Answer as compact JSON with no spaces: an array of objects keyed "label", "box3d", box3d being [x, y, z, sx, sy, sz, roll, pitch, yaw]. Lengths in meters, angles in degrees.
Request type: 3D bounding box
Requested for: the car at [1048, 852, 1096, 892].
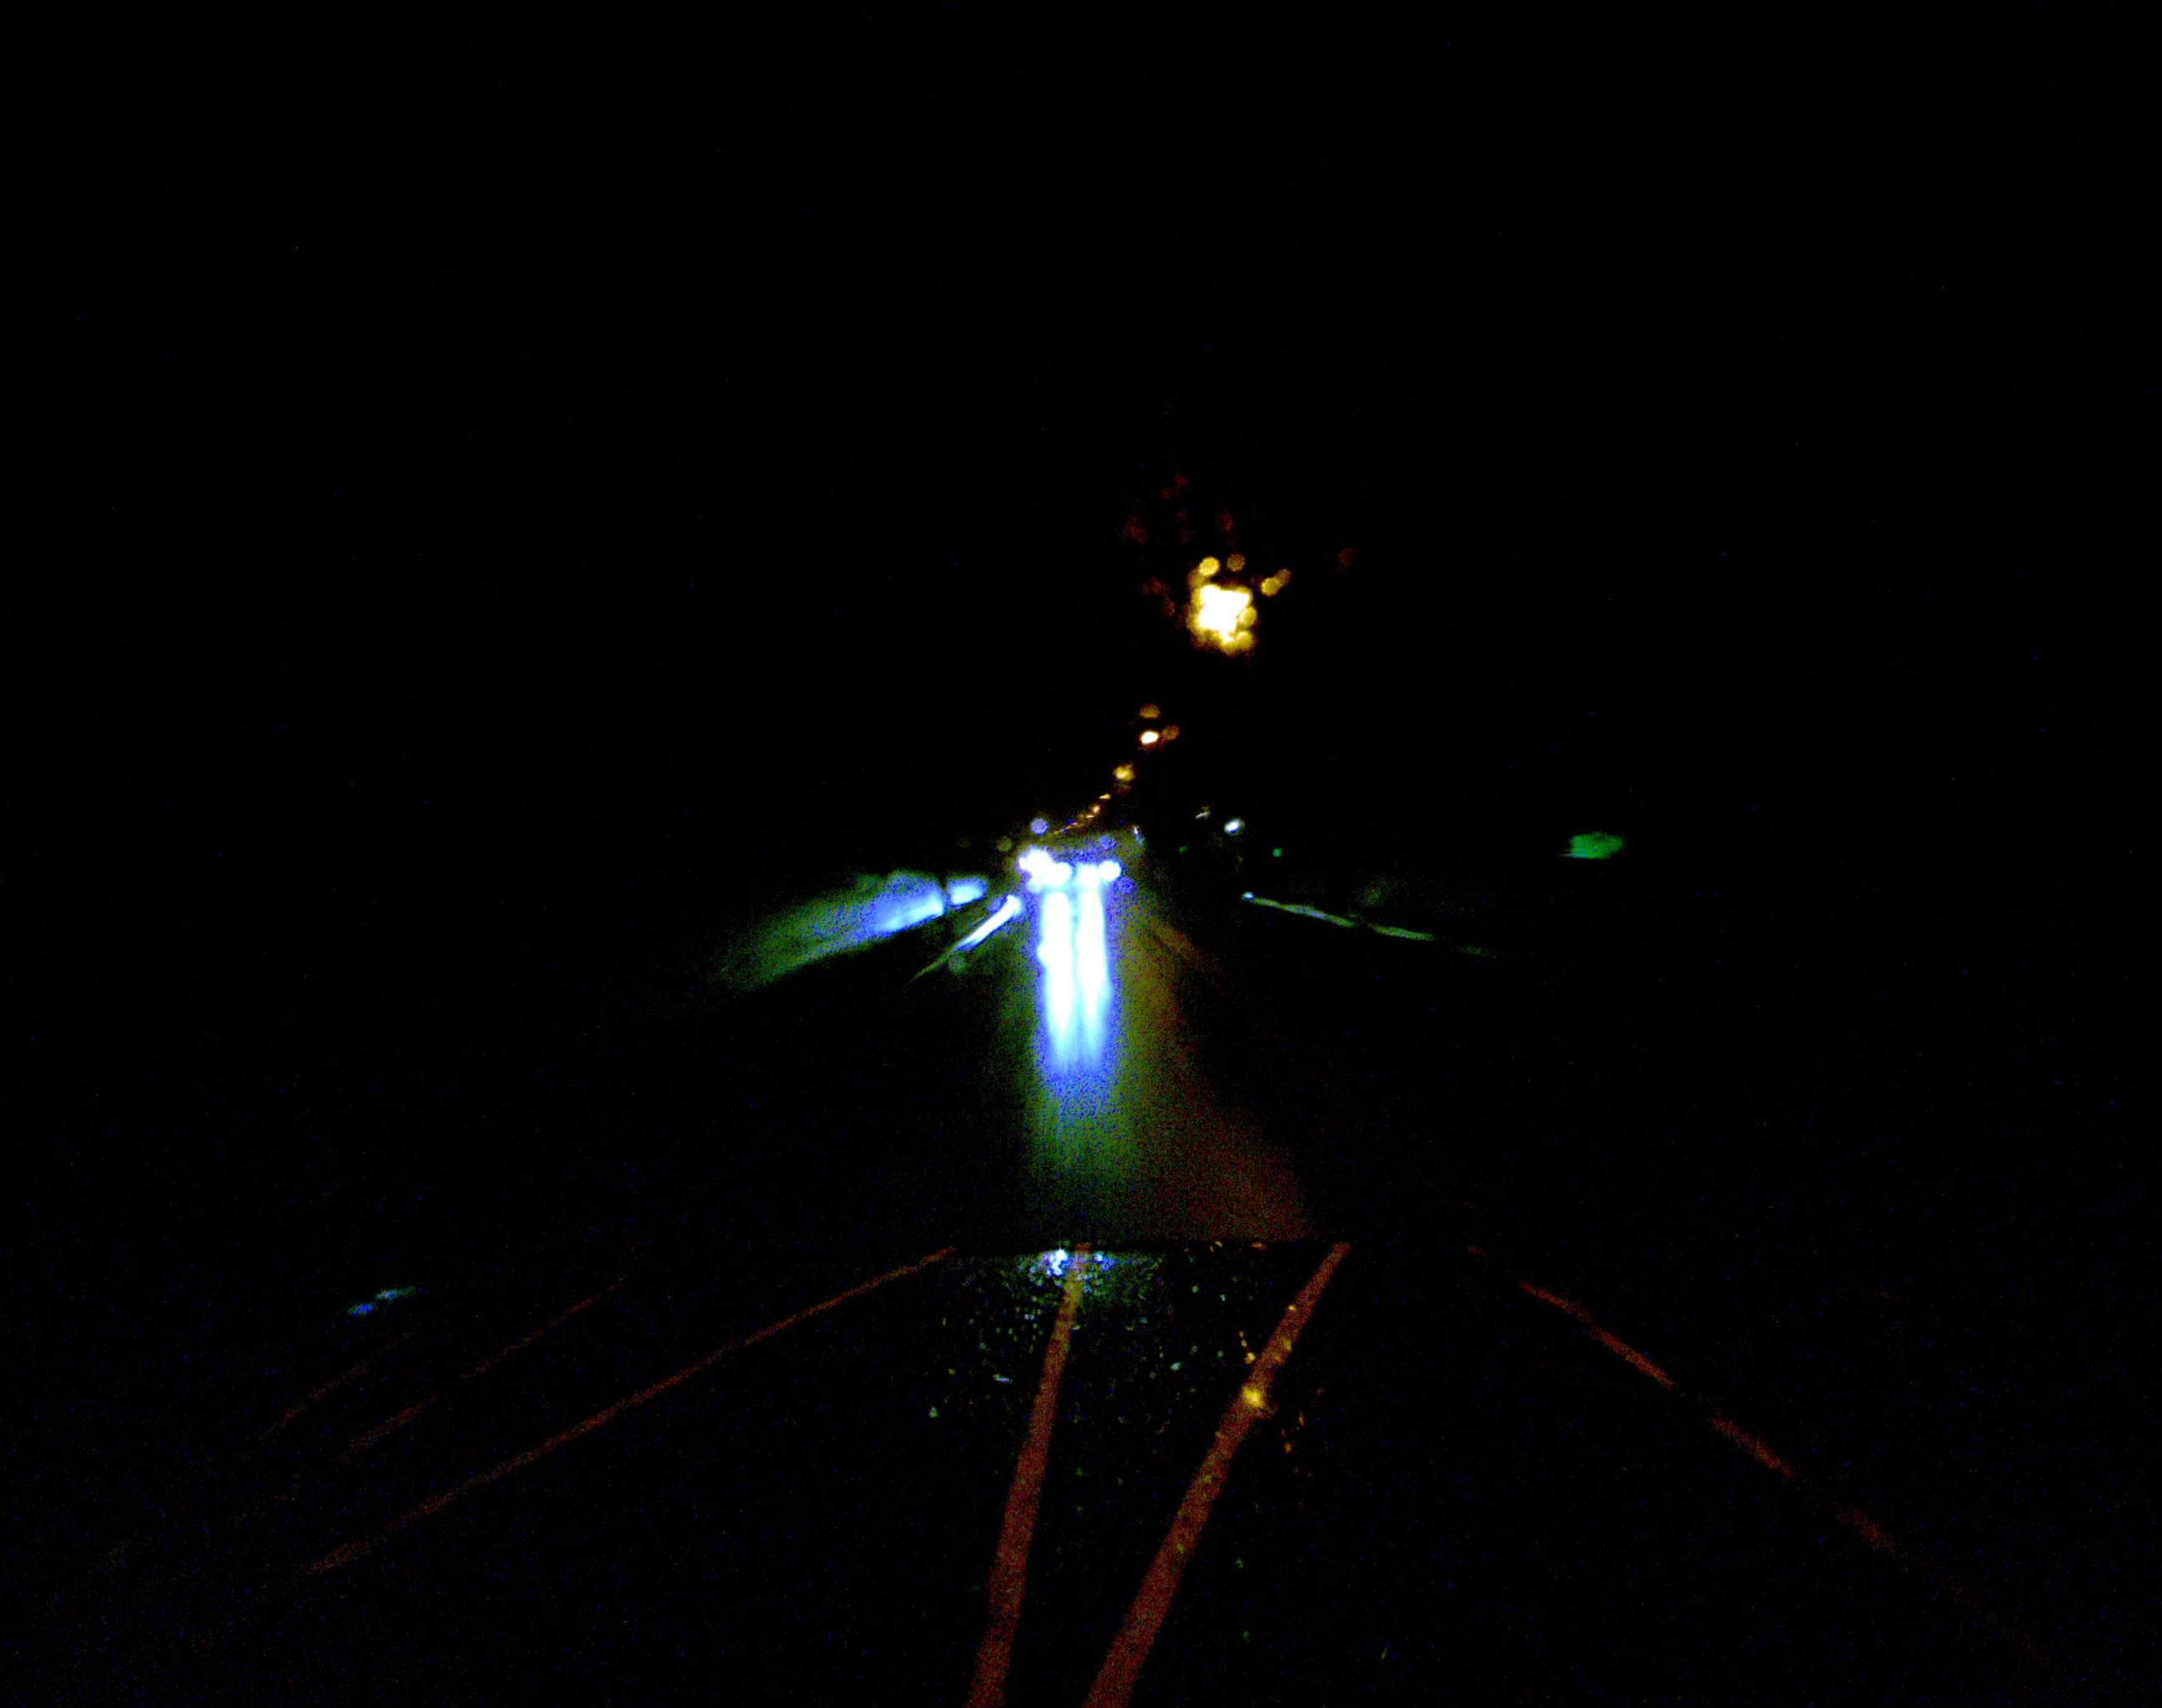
[{"label":"car","box3d":[-0.459,0.789,34.951,1.999,1.547,3.998,-3,1,-1]}]
